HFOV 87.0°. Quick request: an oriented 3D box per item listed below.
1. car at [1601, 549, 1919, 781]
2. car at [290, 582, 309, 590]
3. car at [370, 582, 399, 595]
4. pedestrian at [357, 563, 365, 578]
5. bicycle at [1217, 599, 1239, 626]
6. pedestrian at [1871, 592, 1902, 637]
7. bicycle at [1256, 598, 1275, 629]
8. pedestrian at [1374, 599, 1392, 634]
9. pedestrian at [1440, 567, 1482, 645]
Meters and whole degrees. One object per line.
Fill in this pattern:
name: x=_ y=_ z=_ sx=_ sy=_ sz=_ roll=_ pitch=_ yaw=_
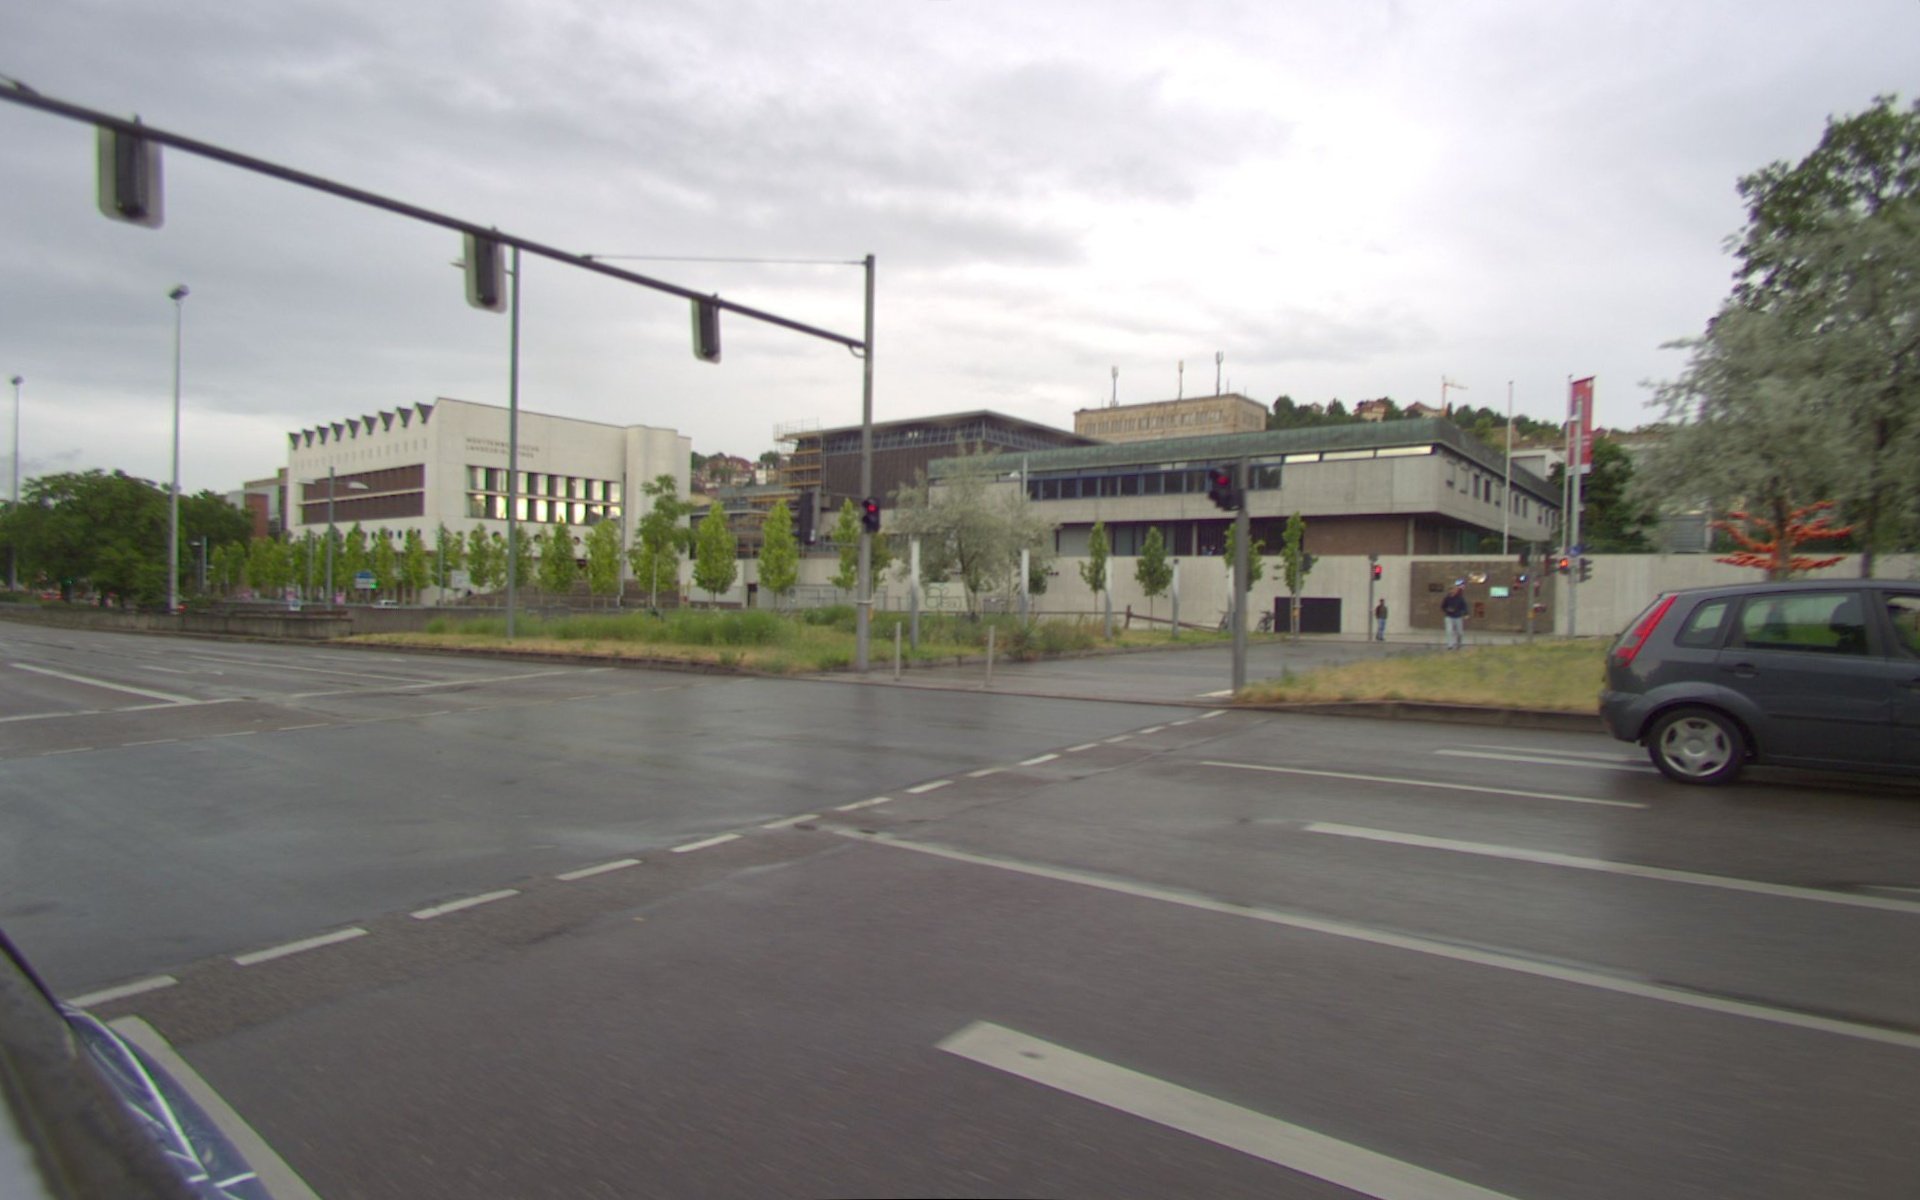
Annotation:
car: x=6.583 y=0.391 z=6.598 sx=3.898 sy=1.426 sz=1.527 roll=1 pitch=2 yaw=40
car: x=-69.060 y=-1.431 z=105.835 sx=2.549 sy=0.751 sz=0.812 roll=3 pitch=3 yaw=37
car: x=-54.436 y=-1.130 z=95.653 sx=3.018 sy=1.122 sz=1.426 roll=3 pitch=3 yaw=40
pedestrian: x=-76.881 y=-3.750 z=129.881 sx=0.729 sy=1.872 sz=0.703 roll=1 pitch=2 yaw=-7
bicycle: x=12.412 y=0.588 z=46.853 sx=0.528 sy=1.170 sz=1.685 roll=2 pitch=3 yaw=31
pedestrian: x=30.246 y=0.458 z=33.038 sx=0.632 sy=1.433 sz=0.487 roll=3 pitch=3 yaw=36
bicycle: x=13.652 y=0.580 z=45.247 sx=0.554 sy=1.317 sz=1.469 roll=2 pitch=2 yaw=25
pedestrian: x=17.334 y=0.687 z=41.514 sx=0.462 sy=1.393 sz=0.576 roll=1 pitch=2 yaw=2
pedestrian: x=13.871 y=0.173 z=28.008 sx=0.726 sy=2.107 sz=0.758 roll=-5 pitch=-2 yaw=44
